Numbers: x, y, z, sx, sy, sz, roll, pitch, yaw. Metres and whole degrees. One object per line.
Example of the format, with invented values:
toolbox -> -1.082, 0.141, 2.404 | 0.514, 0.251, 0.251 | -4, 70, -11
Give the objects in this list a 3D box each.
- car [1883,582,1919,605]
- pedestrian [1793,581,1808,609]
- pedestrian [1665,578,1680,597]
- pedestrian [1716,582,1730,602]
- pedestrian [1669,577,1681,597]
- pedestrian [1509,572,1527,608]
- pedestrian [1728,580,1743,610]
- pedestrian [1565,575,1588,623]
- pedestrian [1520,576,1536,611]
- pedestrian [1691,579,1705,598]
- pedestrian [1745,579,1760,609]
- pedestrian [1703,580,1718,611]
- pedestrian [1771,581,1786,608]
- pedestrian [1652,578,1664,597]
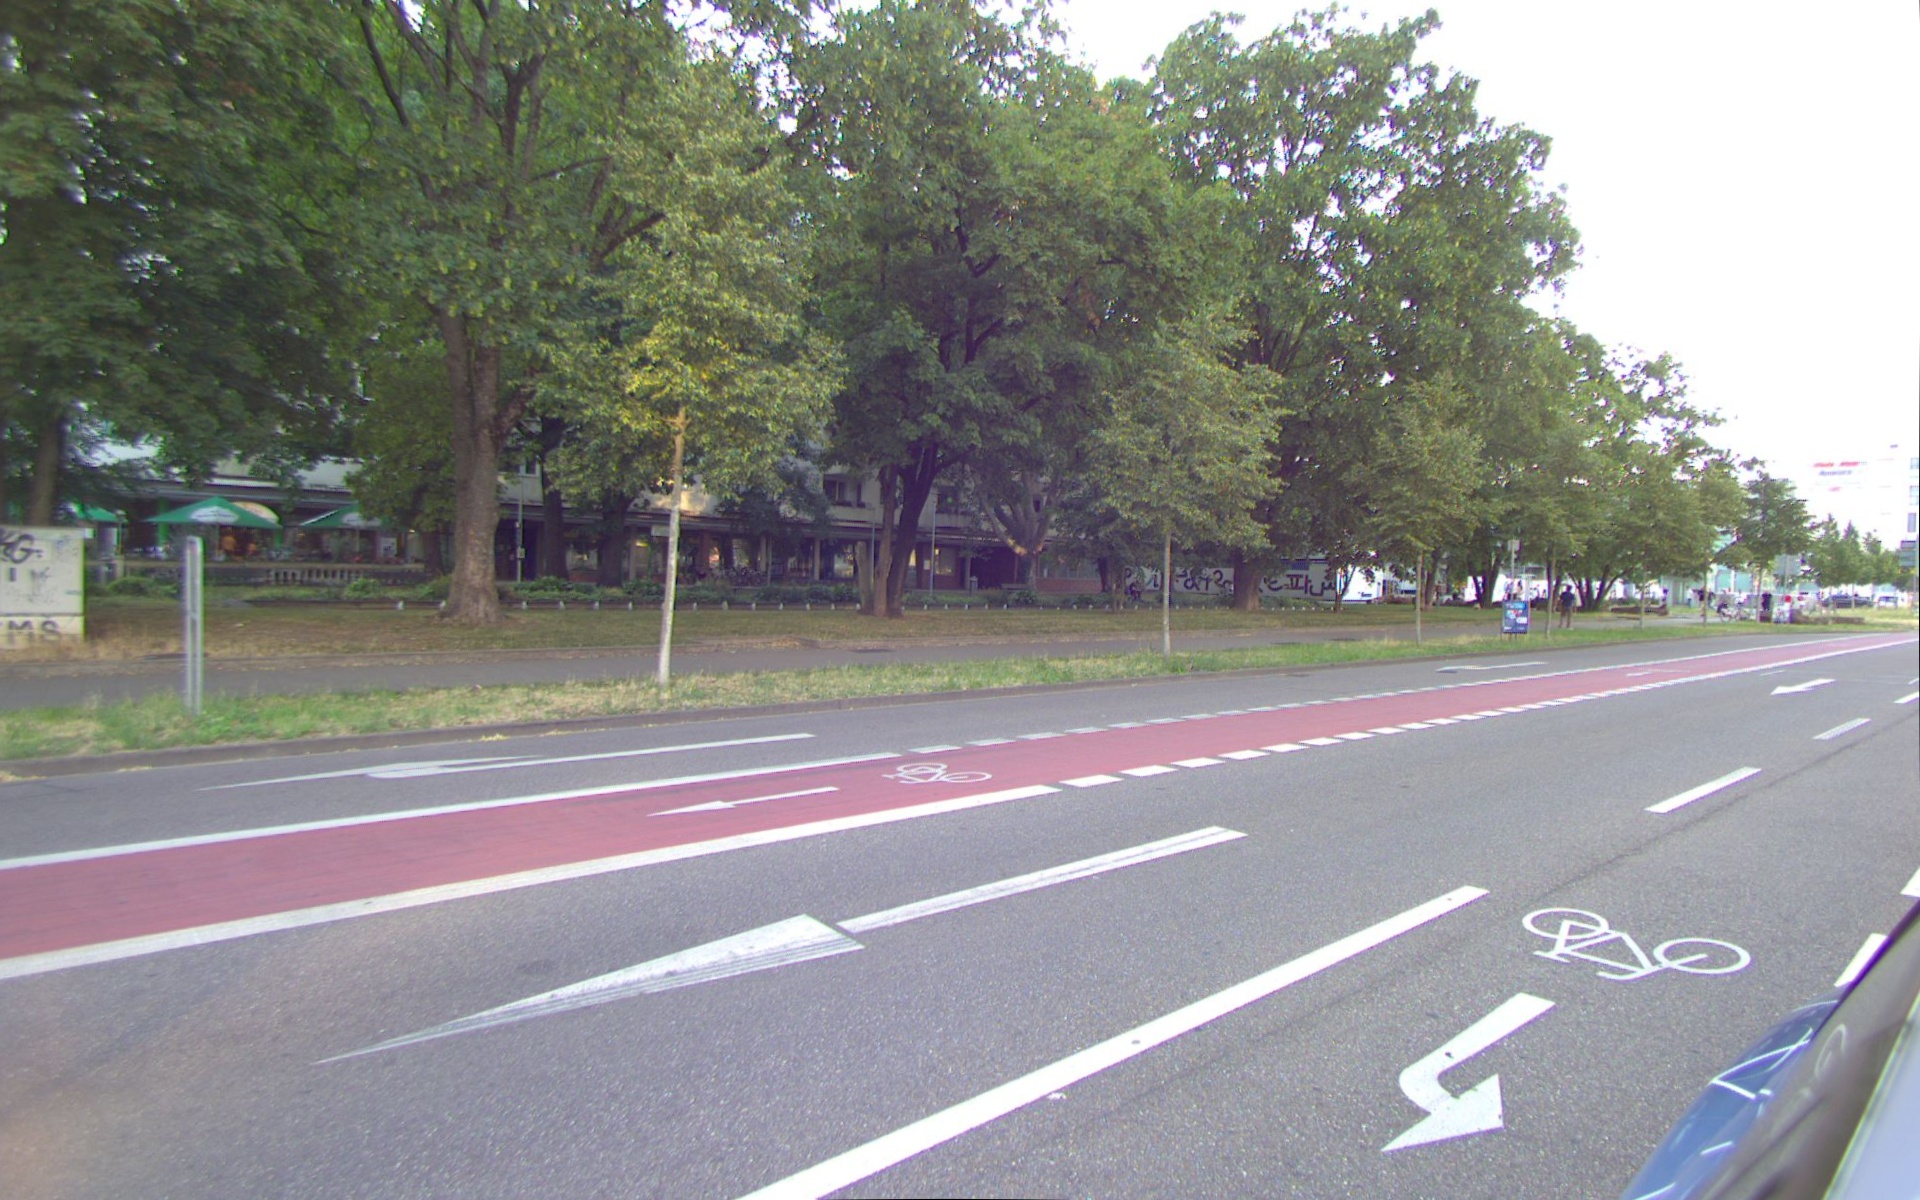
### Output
car -> 90.031, -0.621, 95.548 | 1.965, 2.038, 3.995 | 0, 2, -41
pedestrian -> 55.552, -0.332, 66.917 | 0.497, 1.779, 0.638 | 0, 2, -40
pedestrian -> 51.421, -0.895, 73.022 | 0.604, 1.371, 0.728 | 0, 2, -40
pedestrian -> 53.610, -0.581, 71.142 | 0.496, 1.371, 0.654 | 0, 2, -40
pedestrian -> 50.098, -0.893, 70.896 | 0.759, 1.371, 0.519 | 0, 2, -41
pedestrian -> 25.229, -0.466, 45.772 | 0.513, 1.621, 0.500 | 0, 2, -41
pedestrian -> 46.252, -0.323, 60.381 | 0.707, 1.751, 0.519 | 0, 2, -40
pedestrian -> 23.451, -0.044, 38.511 | 0.546, 1.760, 0.558 | 0, 2, -41
pedestrian -> 26.395, -0.296, 47.021 | 0.359, 1.621, 0.500 | 1, 2, -40
pedestrian -> 52.689, -0.836, 72.270 | 0.550, 1.371, 0.662 | 0, 2, -40
pedestrian -> 46.716, -0.342, 59.627 | 0.707, 1.751, 0.508 | 0, 2, -40
pedestrian -> 42.669, -0.251, 57.520 | 0.707, 1.751, 0.508 | 0, 2, -40
pedestrian -> 55.059, -0.370, 68.044 | 0.497, 1.779, 0.638 | 0, 2, -40
pedestrian -> 49.357, -0.890, 71.552 | 0.759, 1.371, 0.519 | 0, 2, -41
